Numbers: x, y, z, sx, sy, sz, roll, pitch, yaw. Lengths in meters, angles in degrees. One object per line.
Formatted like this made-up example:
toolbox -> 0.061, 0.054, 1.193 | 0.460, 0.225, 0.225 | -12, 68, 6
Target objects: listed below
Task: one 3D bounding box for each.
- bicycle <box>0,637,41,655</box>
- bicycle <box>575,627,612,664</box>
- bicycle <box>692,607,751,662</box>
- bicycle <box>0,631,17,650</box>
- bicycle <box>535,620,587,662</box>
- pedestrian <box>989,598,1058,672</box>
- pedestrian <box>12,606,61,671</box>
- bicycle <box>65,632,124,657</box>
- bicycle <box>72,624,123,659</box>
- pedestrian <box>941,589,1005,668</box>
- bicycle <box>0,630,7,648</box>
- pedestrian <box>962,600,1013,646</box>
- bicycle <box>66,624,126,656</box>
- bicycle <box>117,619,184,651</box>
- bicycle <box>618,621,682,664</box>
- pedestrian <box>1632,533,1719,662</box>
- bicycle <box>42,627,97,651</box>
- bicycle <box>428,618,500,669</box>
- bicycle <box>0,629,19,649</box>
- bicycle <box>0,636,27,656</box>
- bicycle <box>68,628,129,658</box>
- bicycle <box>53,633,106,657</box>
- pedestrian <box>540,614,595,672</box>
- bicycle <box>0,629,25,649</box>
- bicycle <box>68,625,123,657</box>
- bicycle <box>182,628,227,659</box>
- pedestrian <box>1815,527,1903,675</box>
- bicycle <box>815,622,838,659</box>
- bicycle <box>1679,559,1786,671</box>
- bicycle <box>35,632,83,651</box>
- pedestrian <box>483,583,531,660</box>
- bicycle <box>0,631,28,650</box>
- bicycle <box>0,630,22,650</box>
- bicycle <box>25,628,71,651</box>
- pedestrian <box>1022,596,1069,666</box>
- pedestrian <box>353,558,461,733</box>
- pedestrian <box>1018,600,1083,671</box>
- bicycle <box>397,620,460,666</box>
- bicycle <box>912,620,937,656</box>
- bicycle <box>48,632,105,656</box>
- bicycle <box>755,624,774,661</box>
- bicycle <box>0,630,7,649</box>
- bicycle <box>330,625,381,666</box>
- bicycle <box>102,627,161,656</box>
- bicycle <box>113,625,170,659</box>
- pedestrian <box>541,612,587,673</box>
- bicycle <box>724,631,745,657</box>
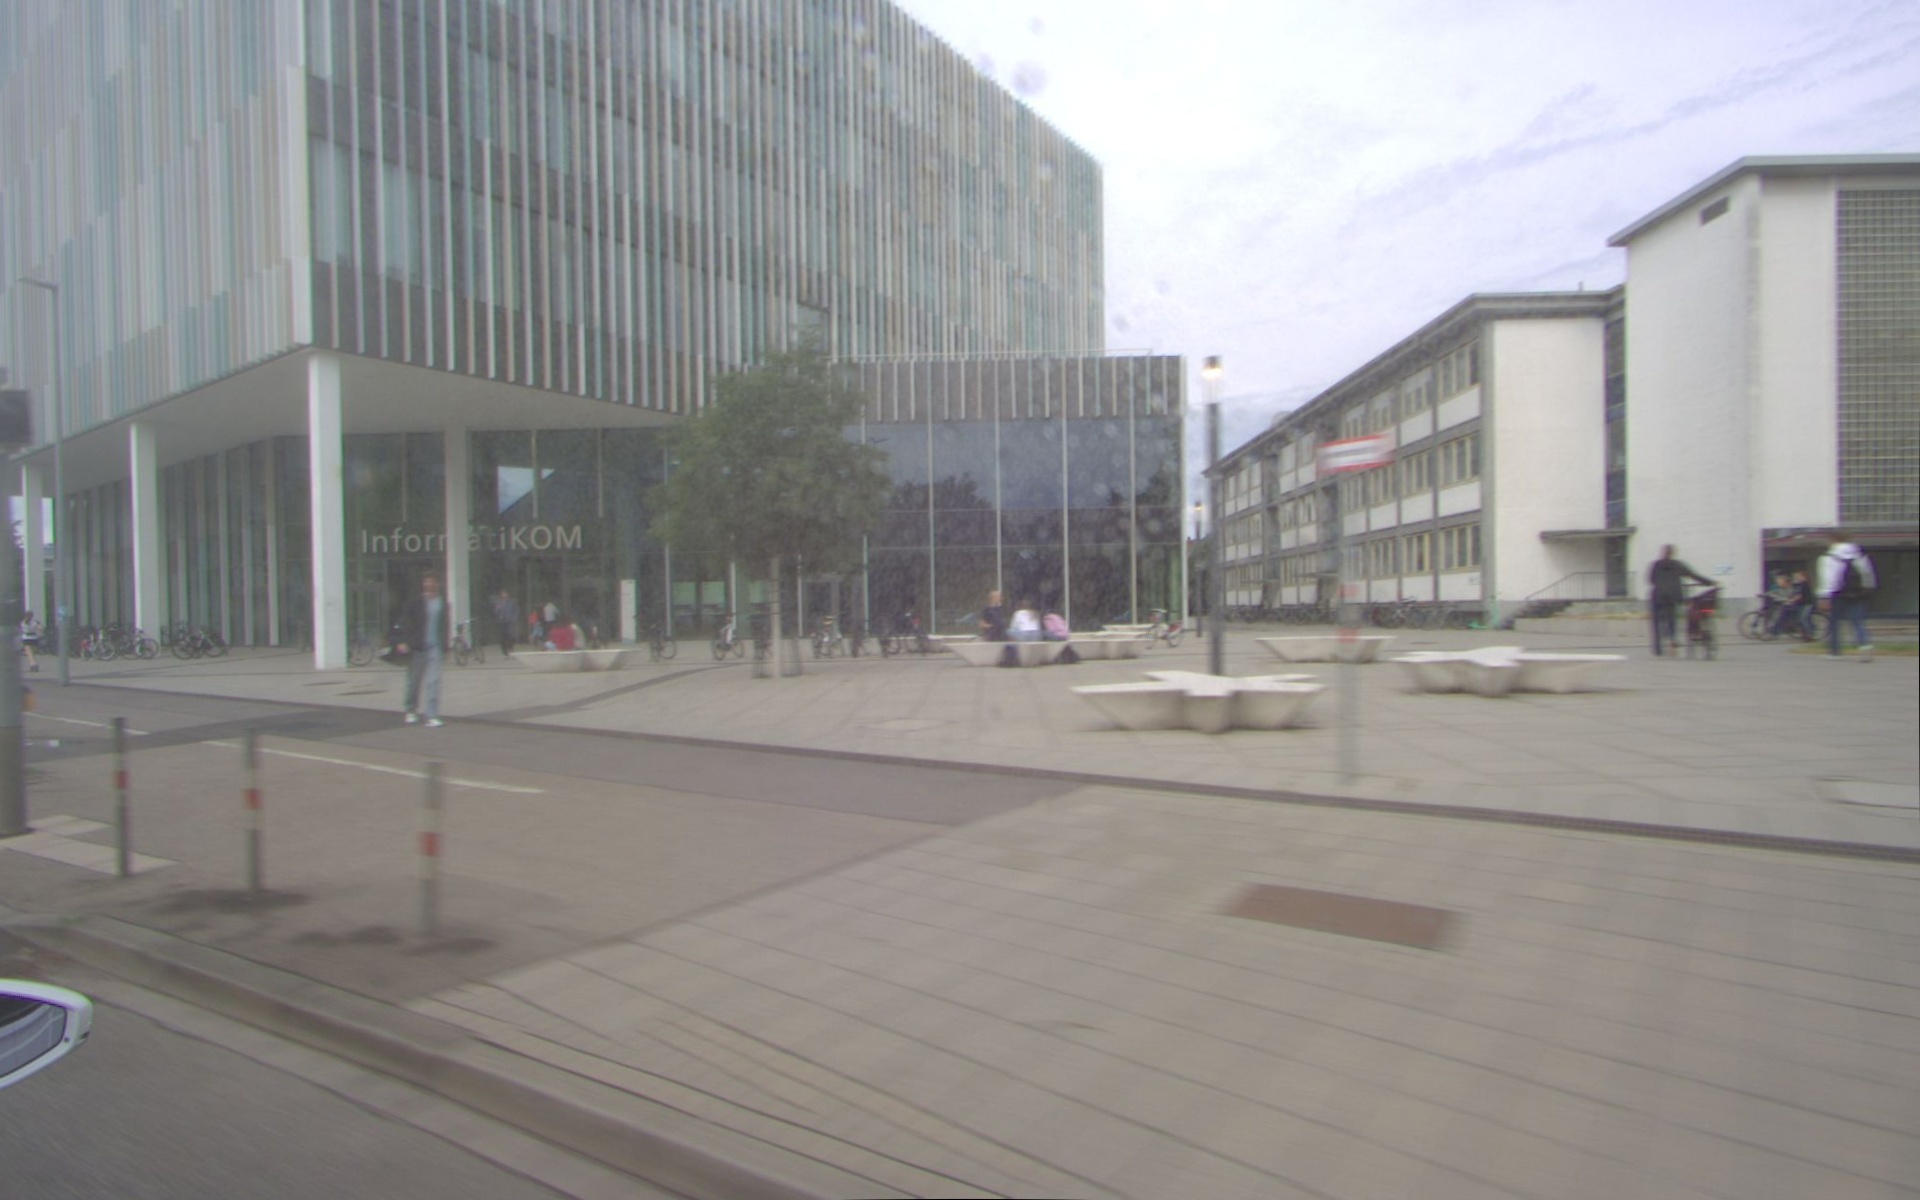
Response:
bicycle -> -42.112, 2.043, 44.654 | 0.549, 0.726, 1.555 | -1, 1, 36
bicycle -> -9.595, 1.178, 26.288 | 0.659, 0.910, 1.844 | -1, 0, -13
bicycle -> -6.227, 0.878, 26.245 | 0.633, 1.324, 2.005 | 0, 2, 14
bicycle -> -46.890, 1.985, 48.543 | 0.549, 0.886, 1.600 | -1, 1, 36
bicycle -> -10.462, 1.056, 26.318 | 0.759, 1.015, 1.959 | -1, 0, -6
pedestrian -> 1.129, 0.624, 17.739 | 0.868, 1.273, 0.905 | -1, -2, 39
pedestrian -> -26.830, 1.112, 29.095 | 0.882, 1.860, 0.840 | -1, 0, 35
bicycle -> -32.808, 1.670, 37.971 | 0.549, 0.886, 1.601 | -1, 0, 36
bicycle -> -29.615, 1.427, 34.362 | 2.169, 1.156, 0.634 | -2, 3, 32
pedestrian -> 0.236, 0.524, 18.137 | 0.864, 1.384, 0.909 | -1, -1, 26
bicycle -> -48.213, 1.979, 49.412 | 0.549, 0.886, 1.600 | -1, 1, 36
pedestrian -> 0.527, 0.433, 18.980 | 0.629, 0.834, 0.728 | -2, 0, -39
bicycle -> -33.439, 1.549, 38.764 | 0.566, 1.106, 1.633 | -1, 3, 44
bicycle -> -32.501, 1.412, 40.231 | 1.951, 1.160, 0.647 | -2, 2, -13
bicycle -> -7.984, 1.074, 25.909 | 0.767, 1.019, 2.191 | -1, 0, 6
pedestrian -> 10.980, -0.028, 15.390 | 0.873, 1.911, 0.737 | -1, 1, 17
bicycle -> -37.987, 1.648, 42.720 | 0.510, 0.959, 1.682 | -1, 0, 42
bicycle -> -12.908, 1.105, 26.178 | 0.759, 1.203, 2.719 | -1, 0, -6
bicycle -> -42.936, 1.766, 44.543 | 0.549, 0.850, 1.449 | -1, 1, 36
bicycle -> -41.966, 2.040, 43.830 | 0.549, 0.845, 1.527 | -1, 1, 36
bicycle -> -32.336, 1.596, 37.617 | 0.549, 0.996, 1.600 | -1, 2, 36
bicycle -> -36.159, 1.845, 41.140 | 0.361, 0.908, 1.601 | -1, 0, 36
pedestrian -> -8.488, 0.917, 21.649 | 0.884, 1.209, 0.838 | -1, 0, -40
bicycle -> -44.102, 1.811, 45.995 | 0.549, 0.886, 1.600 | -1, 1, 36
bicycle -> -32.017, 1.509, 37.098 | 0.552, 1.058, 1.395 | -1, 2, 36
bicycle -> -24.935, 1.436, 33.076 | 0.432, 0.942, 1.488 | 0, 1, -3
pedestrian -> 12.431, 0.017, 13.861 | 0.675, 1.985, 0.653 | -1, 1, 17
bicycle -> -3.442, 1.032, 25.778 | 0.532, 0.911, 1.356 | -1, 0, -8
bicycle -> 10.906, 0.212, 14.200 | 0.592, 1.489, 1.645 | -1, 0, 15
bicycle -> -38.588, 1.766, 42.917 | 0.549, 0.756, 1.429 | -1, 1, 36
pedestrian -> -12.666, 0.615, 28.045 | 1.166, 2.088, 1.132 | 1, -1, -23
bicycle -> -45.837, 1.952, 48.000 | 0.549, 0.886, 1.600 | -1, 1, 36
bicycle -> -43.478, 1.825, 45.171 | 0.549, 0.886, 1.600 | -1, 1, 36
bicycle -> -37.606, 1.619, 41.290 | 0.549, 0.886, 1.278 | -1, 1, 36
pedestrian -> 1.631, 0.595, 19.097 | 0.641, 1.295, 0.639 | 1, -2, -41
pedestrian -> -6.788, 0.537, 12.297 | 0.883, 2.040, 0.839 | -1, 0, 37
pedestrian -> 1.700, 0.662, 18.751 | 0.868, 1.273, 0.905 | -1, -2, 39
bicycle -> -14.181, 1.132, 26.774 | 0.722, 1.130, 2.182 | -1, 0, -7
bicycle -> -0.959, 1.004, 26.633 | 0.499, 0.910, 1.550 | -1, 0, -8
bicycle -> -34.889, 1.727, 39.541 | 0.549, 0.886, 1.601 | -1, 0, 36
bicycle -> -5.132, 1.107, 26.301 | 0.387, 0.910, 1.472 | -1, 0, -8
bicycle -> -47.795, 1.973, 49.000 | 0.549, 0.886, 1.600 | -1, 1, 36
bicycle -> -16.448, 1.225, 27.237 | 1.819, 1.075, 0.636 | -1, -2, 40
bicycle -> -30.810, 1.520, 37.239 | 1.595, 0.949, 0.563 | -4, 3, -44
bicycle -> -27.090, 1.389, 33.140 | 1.931, 1.095, 0.607 | -1, 2, 24
pedestrian -> -8.270, 0.877, 20.937 | 0.831, 1.222, 0.892 | -1, 0, -20
bicycle -> -6.385, 1.236, 28.356 | 0.424, 0.640, 1.690 | -1, 0, -8
